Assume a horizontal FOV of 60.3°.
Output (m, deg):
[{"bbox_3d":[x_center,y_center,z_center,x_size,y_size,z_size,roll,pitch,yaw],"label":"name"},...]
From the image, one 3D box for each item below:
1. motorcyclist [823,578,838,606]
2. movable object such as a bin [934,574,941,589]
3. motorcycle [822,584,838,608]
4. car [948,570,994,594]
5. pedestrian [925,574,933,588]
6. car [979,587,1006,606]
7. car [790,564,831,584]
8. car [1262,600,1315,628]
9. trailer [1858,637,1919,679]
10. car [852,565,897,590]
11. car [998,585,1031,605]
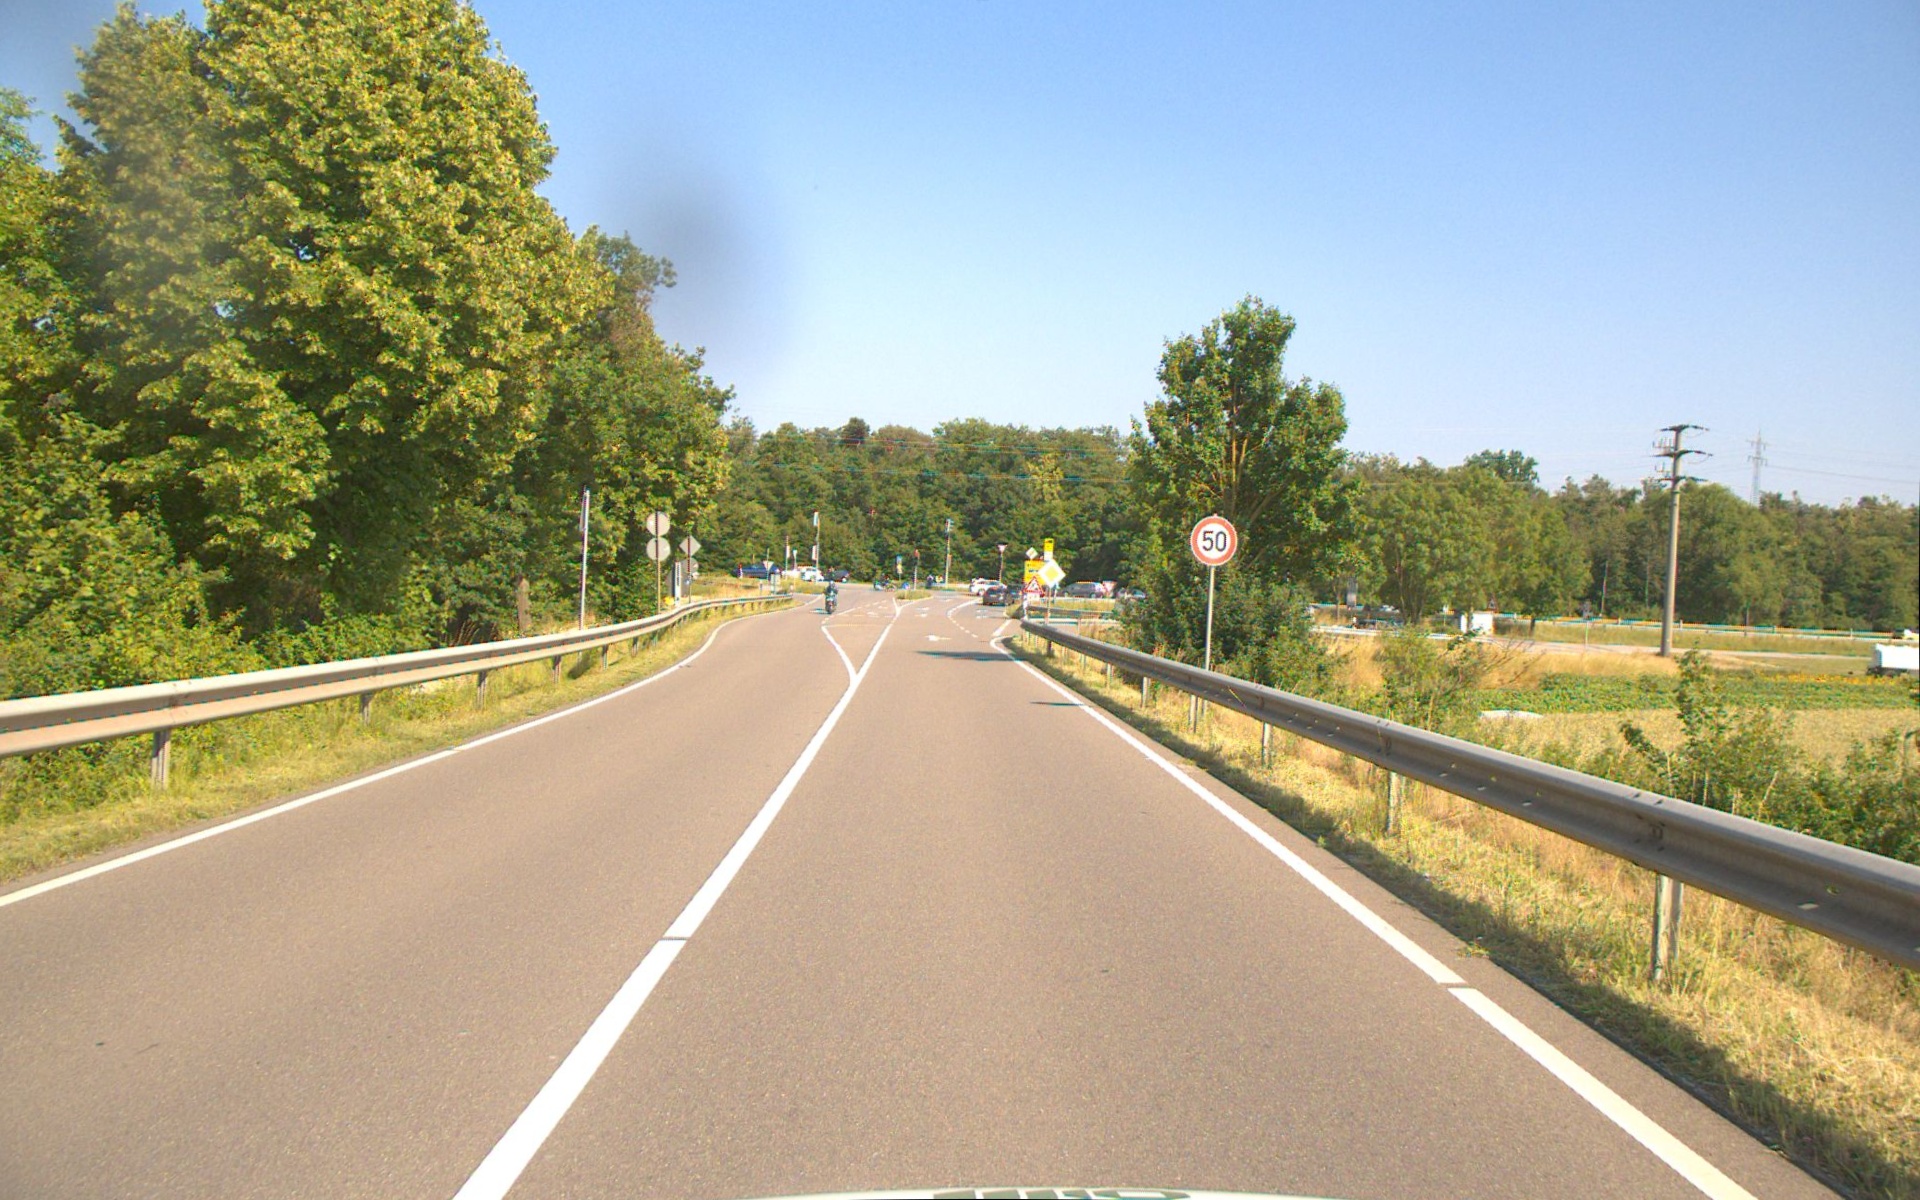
[{"bbox_3d":[-6.788,-0.434,86.790,0.684,1.432,0.784,1,0,-1],"label":"motorcyclist"},{"bbox_3d":[-2.297,-1.862,167.165,0.589,1.514,0.732,1,0,7],"label":"movable object such as a bin"},{"bbox_3d":[-6.800,-0.215,86.752,0.702,1.272,2.078,1,1,-1],"label":"motorcycle"},{"bbox_3d":[0.999,-1.639,150.301,3.909,2.048,1.799,2,1,-5],"label":"car"},{"bbox_3d":[-3.116,-1.896,166.444,0.513,1.415,0.513,1,0,30],"label":"pedestrian"},{"bbox_3d":[2.526,-0.265,128.565,1.761,1.422,4.003,-2,0,5],"label":"car"},{"bbox_3d":[-15.665,-2.686,173.139,3.932,2.049,1.784,0,0,-23],"label":"car"},{"bbox_3d":[27.813,1.182,140.086,3.926,1.909,1.882,6,1,39],"label":"car"},{"bbox_3d":[69.606,4.335,120.574,6.642,2.716,2.895,4,1,15],"label":"trailer"},{"bbox_3d":[-7.760,-2.036,150.213,3.914,2.048,1.797,2,1,-10],"label":"car"},{"bbox_3d":[4.518,-0.391,136.154,1.761,1.527,4.003,3,1,16],"label":"car"}]
